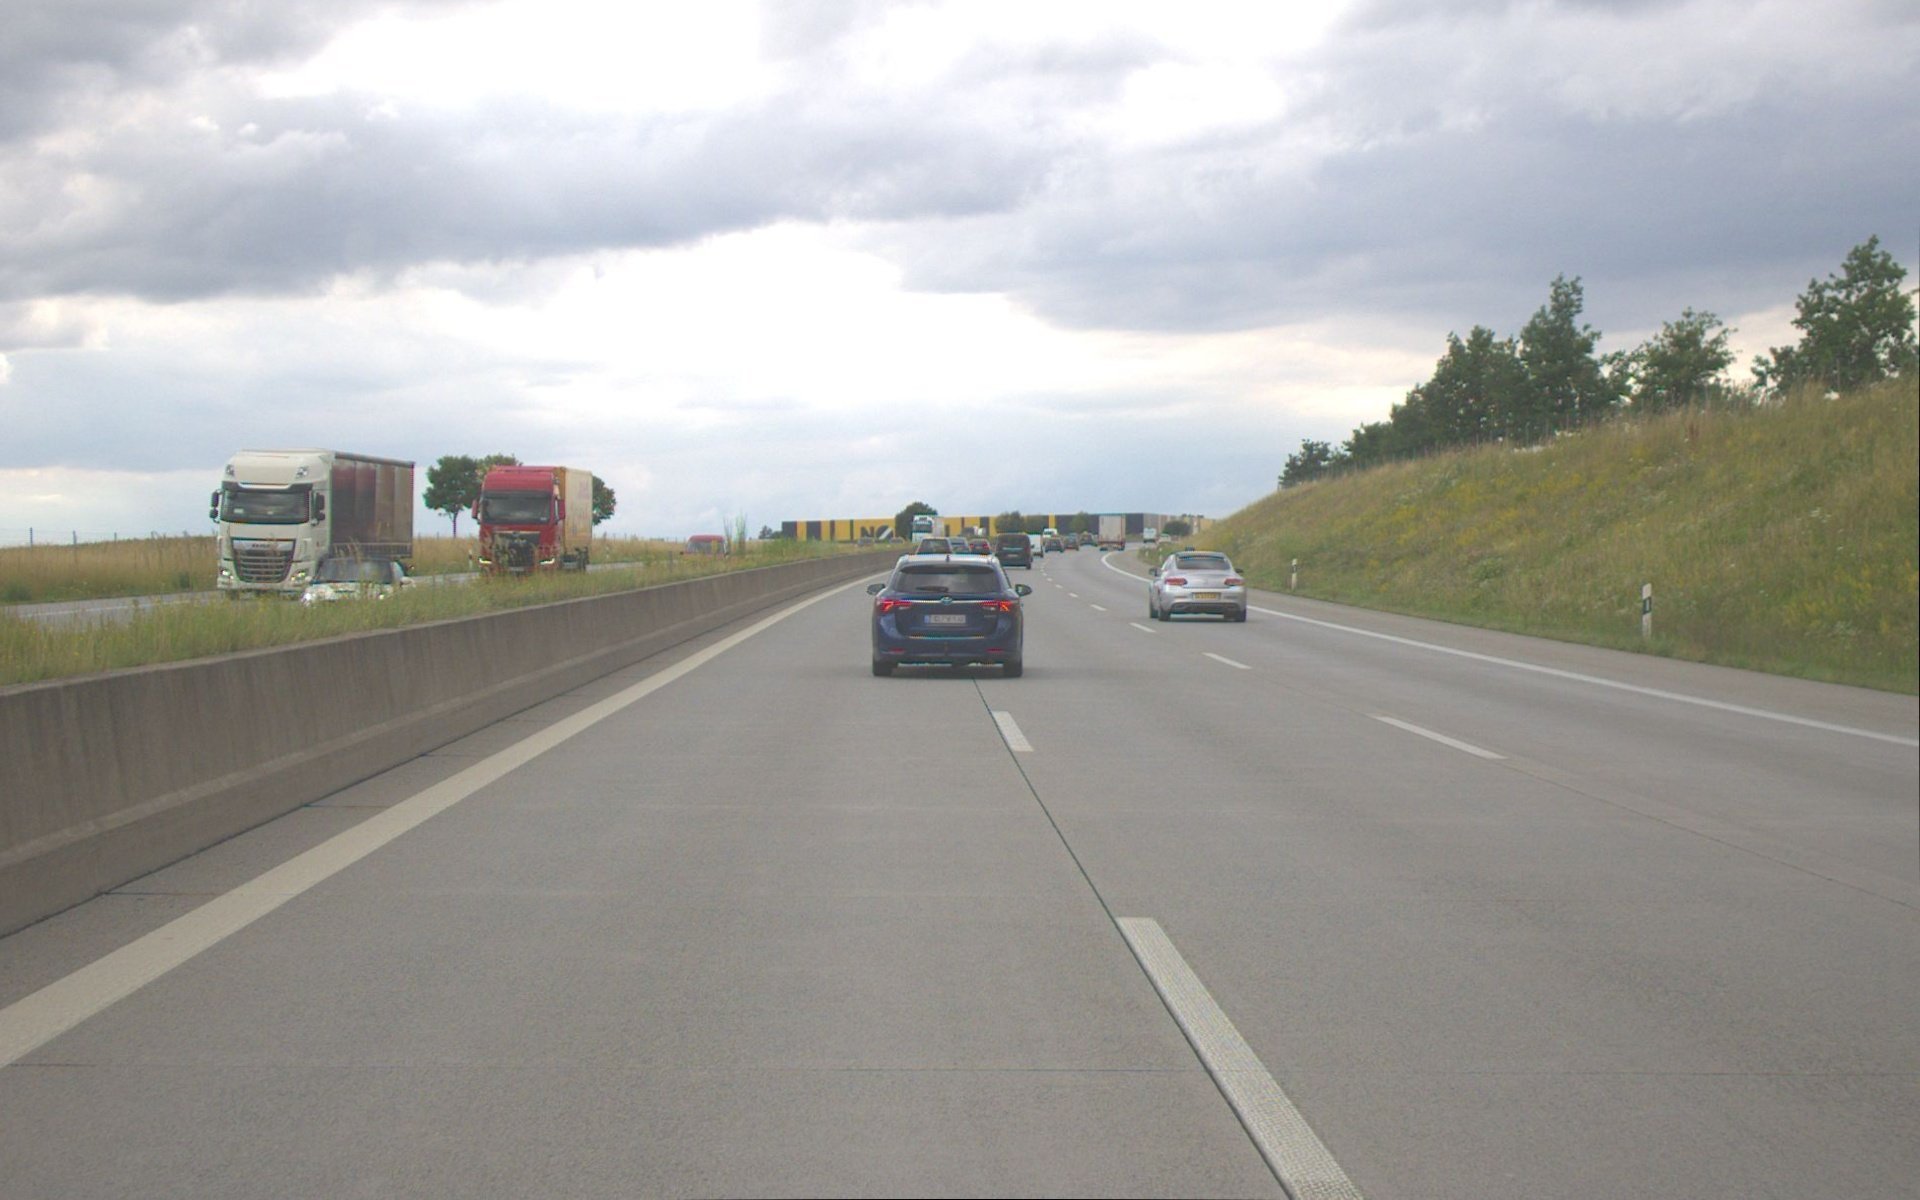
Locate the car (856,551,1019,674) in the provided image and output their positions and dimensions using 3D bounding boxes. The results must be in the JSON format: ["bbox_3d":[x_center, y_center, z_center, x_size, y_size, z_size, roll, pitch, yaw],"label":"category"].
[{"bbox_3d":[-0.225,0.117,41.468,1.775,1.408,4.000,0,1,2],"label":"car"}]

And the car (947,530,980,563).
[{"bbox_3d":[0.205,-3.326,213.246,1.993,2.007,4.000,1,0,-1],"label":"car"}]

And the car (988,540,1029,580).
[{"bbox_3d":[2.493,-2.047,177.440,1.993,2.007,4.000,1,0,0],"label":"car"}]

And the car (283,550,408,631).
[{"bbox_3d":[-10.658,-0.179,59.797,1.567,1.347,3.473,0,1,0],"label":"car"}]

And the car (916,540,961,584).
[{"bbox_3d":[-1.026,-1.759,161.568,2.046,2.007,4.000,1,0,-1],"label":"car"}]

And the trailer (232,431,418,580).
[{"bbox_3d":[-18.166,-2.695,99.390,2.839,4.024,13.908,0,1,0],"label":"trailer"}]

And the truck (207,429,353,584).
[{"bbox_3d":[-18.168,-2.486,92.198,2.839,4.024,5.511,0,1,0],"label":"truck"}]

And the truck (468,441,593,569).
[{"bbox_3d":[-14.074,-3.106,113.387,2.816,4.024,10.569,0,1,0],"label":"truck"}]

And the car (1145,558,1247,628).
[{"bbox_3d":[4.862,-0.160,71.297,1.788,1.399,4.221,0,1,0],"label":"car"}]
